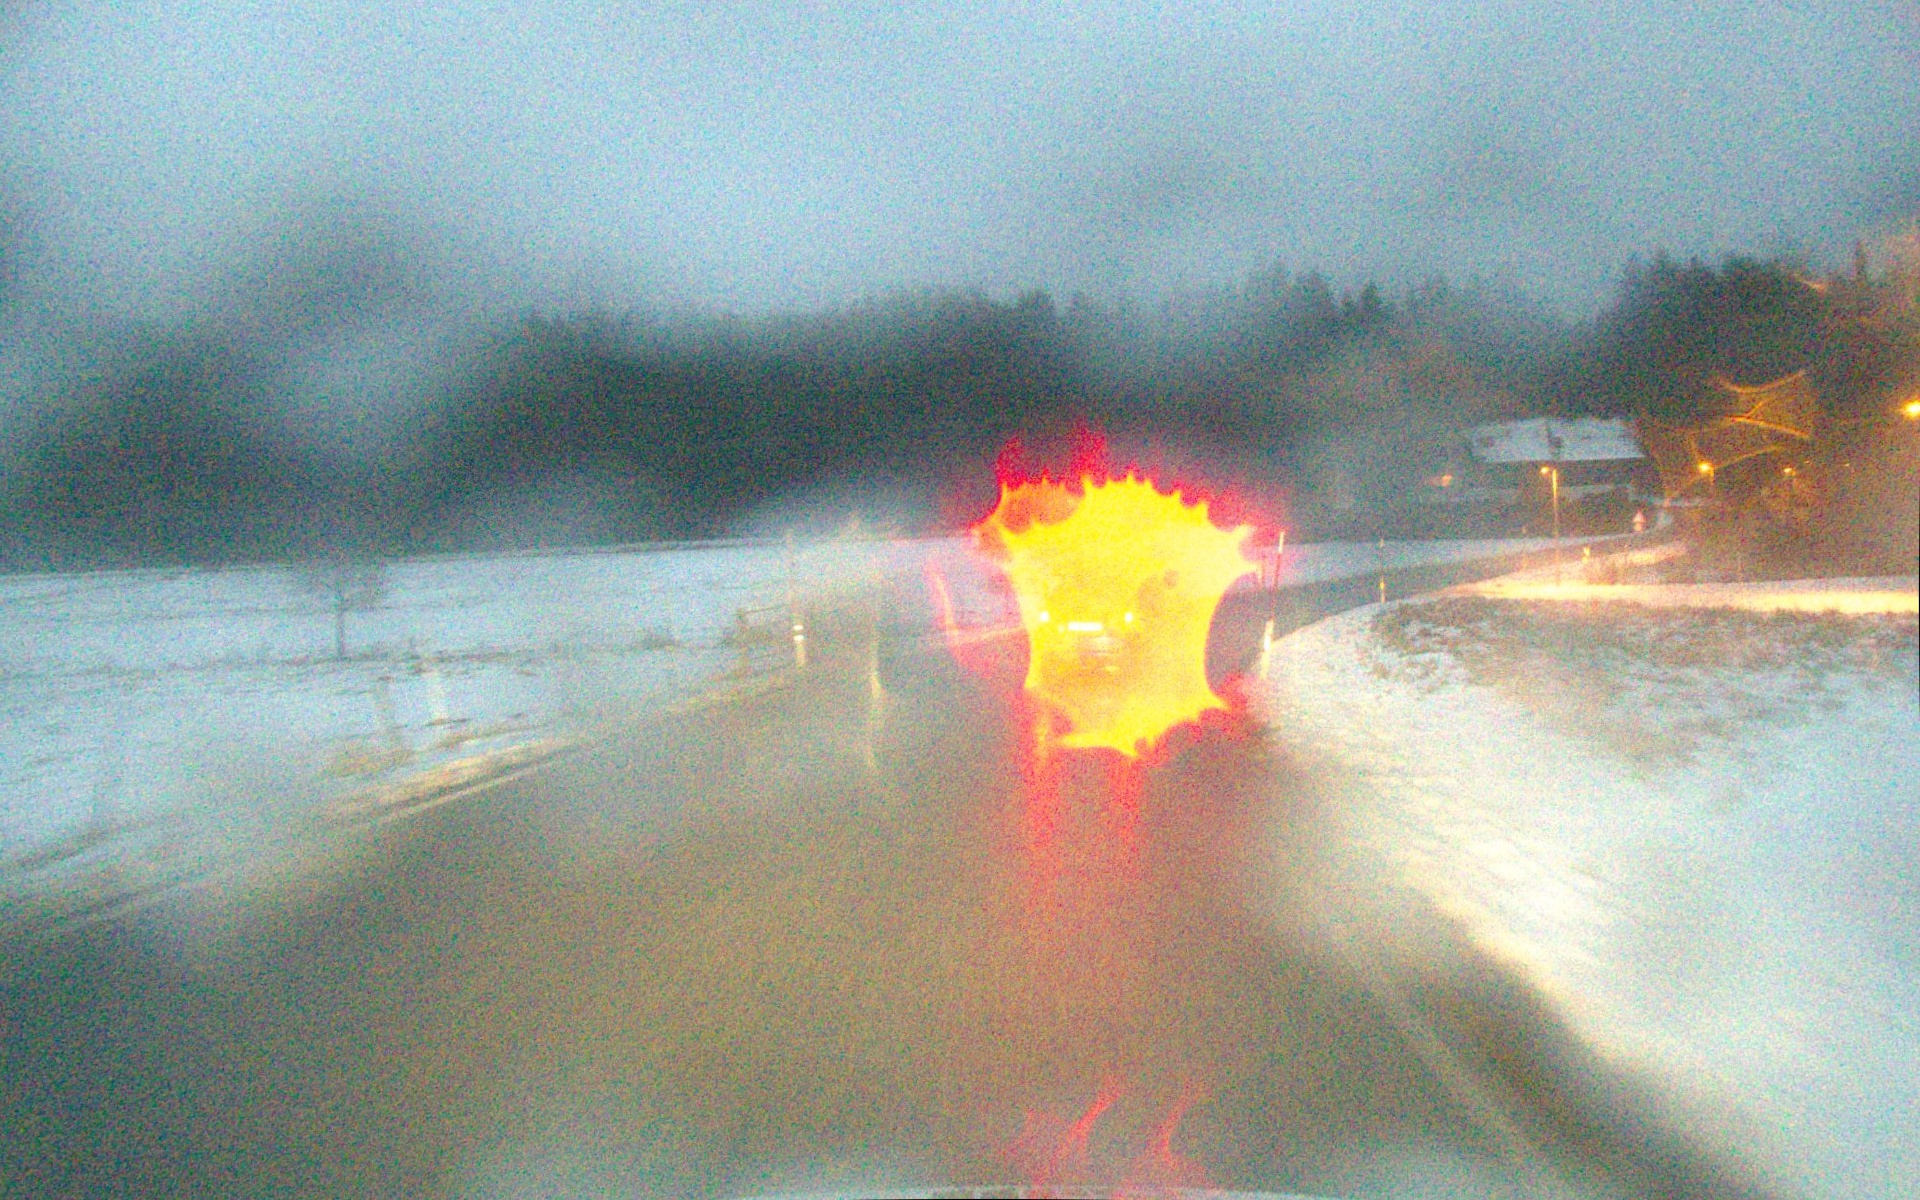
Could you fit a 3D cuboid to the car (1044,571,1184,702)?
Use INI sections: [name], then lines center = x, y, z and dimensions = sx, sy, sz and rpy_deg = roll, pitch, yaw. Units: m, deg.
[car]
center = 2.464, 0.508, 25.744
dimensions = 1.783, 1.828, 3.581
rpy_deg = -2, 0, 11
